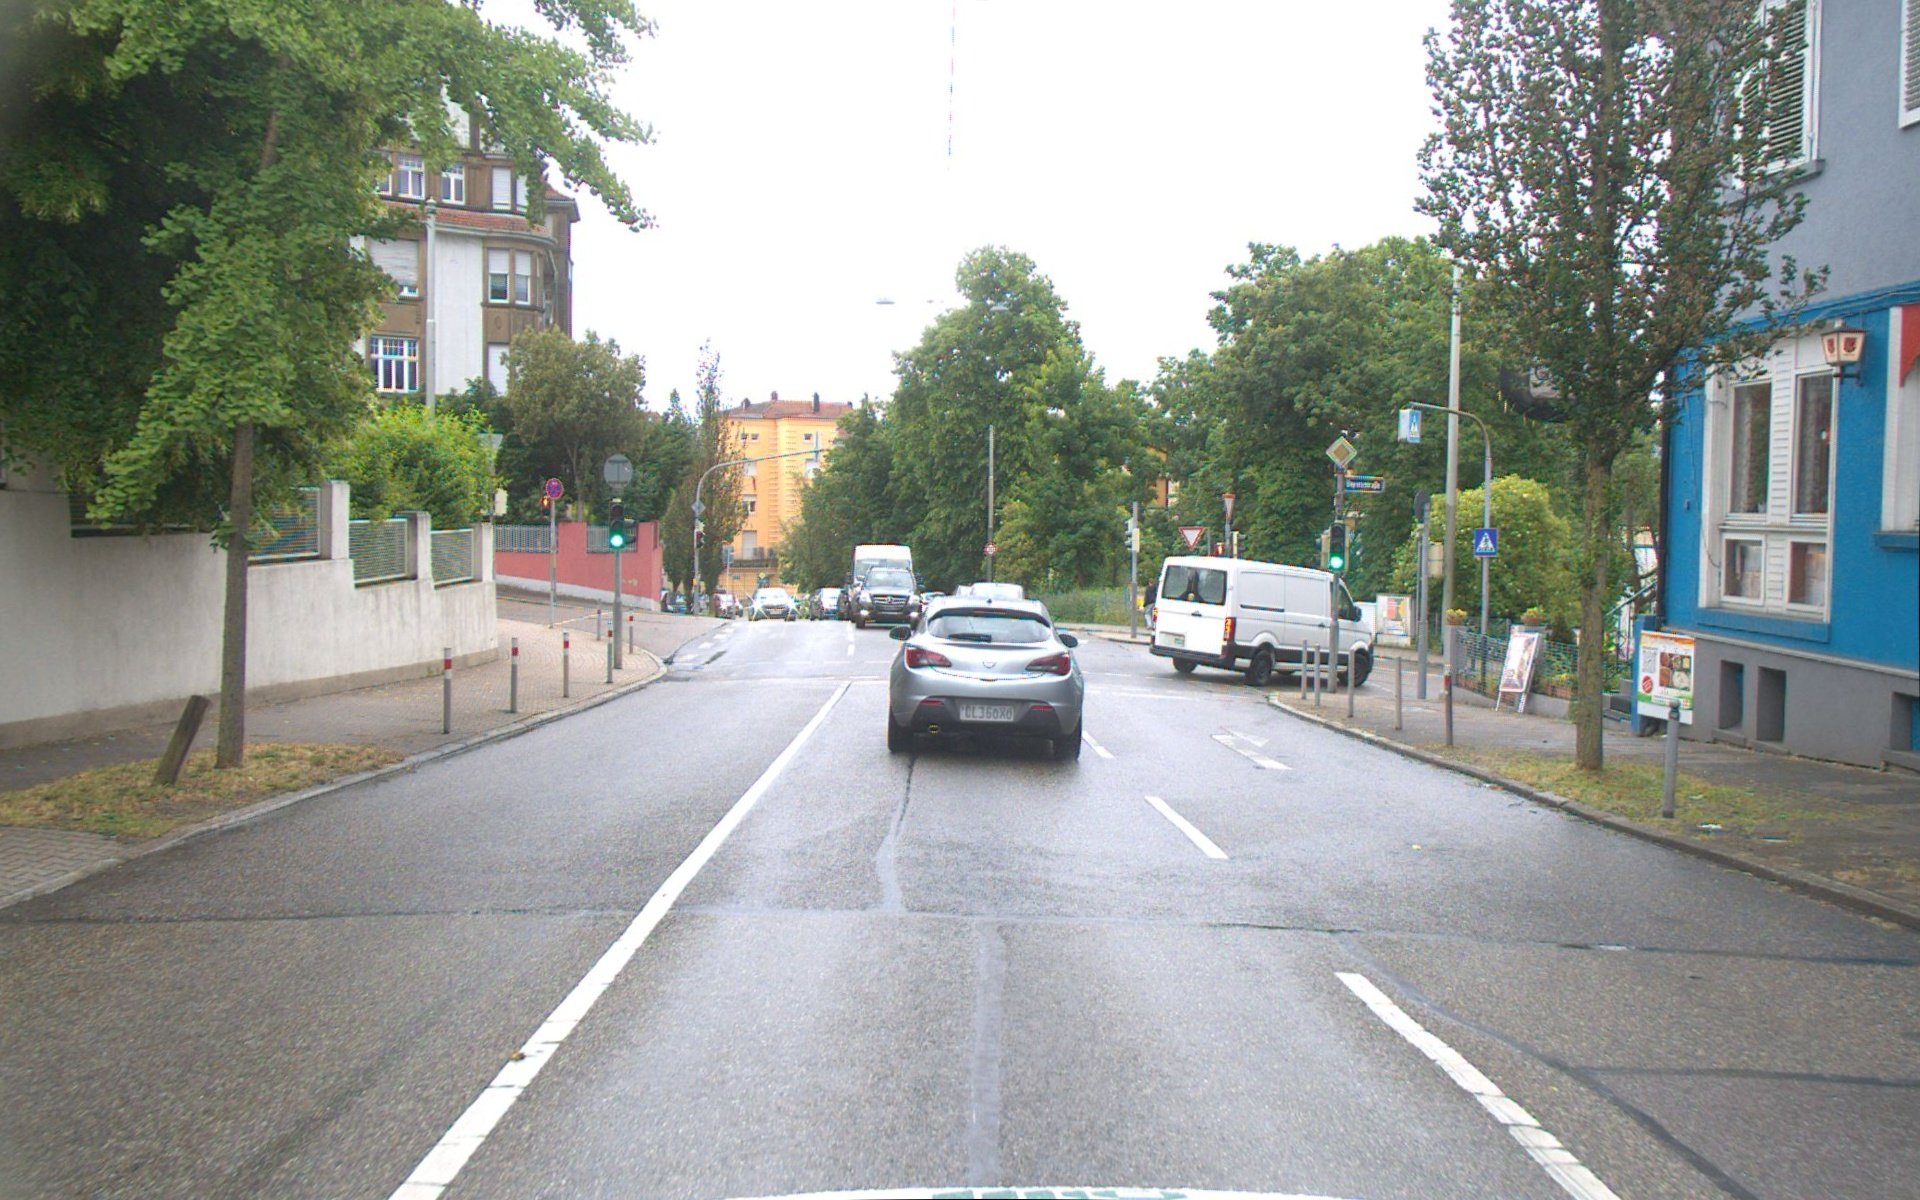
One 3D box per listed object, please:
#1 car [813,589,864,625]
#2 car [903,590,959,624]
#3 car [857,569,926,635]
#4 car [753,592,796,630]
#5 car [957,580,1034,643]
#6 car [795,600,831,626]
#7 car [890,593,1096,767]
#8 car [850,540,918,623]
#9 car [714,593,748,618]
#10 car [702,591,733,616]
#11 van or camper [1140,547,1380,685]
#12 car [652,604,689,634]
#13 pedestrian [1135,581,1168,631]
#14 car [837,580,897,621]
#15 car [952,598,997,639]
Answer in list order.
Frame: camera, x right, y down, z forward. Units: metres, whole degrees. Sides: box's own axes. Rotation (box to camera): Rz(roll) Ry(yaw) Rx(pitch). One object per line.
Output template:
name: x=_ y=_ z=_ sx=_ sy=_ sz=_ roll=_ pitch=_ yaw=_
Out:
car: x=-5.604 y=0.342 z=75.829 sx=1.743 sy=1.523 sz=4.249 roll=2 pitch=-1 yaw=-12
car: x=-1.525 y=0.377 z=85.707 sx=1.786 sy=1.520 sz=3.981 roll=-5 pitch=0 yaw=-16
car: x=-1.937 y=0.023 z=45.974 sx=1.785 sy=1.680 sz=4.343 roll=2 pitch=1 yaw=-4
car: x=-8.194 y=0.459 z=73.072 sx=1.817 sy=1.512 sz=5.360 roll=0 pitch=1 yaw=-6
car: x=0.825 y=0.318 z=40.709 sx=1.740 sy=1.455 sz=3.784 roll=0 pitch=-2 yaw=-1
car: x=-8.994 y=0.775 z=100.909 sx=1.612 sy=1.563 sz=3.702 roll=1 pitch=0 yaw=-14
car: x=0.259 y=0.697 z=16.556 sx=1.778 sy=1.454 sz=3.999 roll=1 pitch=1 yaw=-1
car: x=-2.577 y=-0.574 z=54.801 sx=2.076 sy=2.590 sz=5.535 roll=0 pitch=0 yaw=-4
car: x=-15.495 y=0.370 z=111.701 sx=1.814 sy=1.611 sz=4.264 roll=4 pitch=-1 yaw=-14
car: x=-19.064 y=0.309 z=129.862 sx=1.753 sy=1.887 sz=3.981 roll=1 pitch=-1 yaw=-17
van or camper: x=6.184 y=0.385 z=33.569 sx=2.075 sy=2.365 sz=5.383 roll=7 pitch=2 yaw=42
car: x=-16.505 y=1.093 z=94.261 sx=1.784 sy=1.641 sz=3.986 roll=2 pitch=-1 yaw=-13
pedestrian: x=6.500 y=0.202 z=56.245 sx=0.753 sy=1.633 sz=0.961 roll=-2 pitch=0 yaw=-16
car: x=-3.849 y=0.048 z=67.693 sx=1.841 sy=1.602 sz=4.573 roll=1 pitch=0 yaw=-11
car: x=0.511 y=0.652 z=59.840 sx=1.355 sy=1.436 sz=3.454 roll=0 pitch=0 yaw=-4
